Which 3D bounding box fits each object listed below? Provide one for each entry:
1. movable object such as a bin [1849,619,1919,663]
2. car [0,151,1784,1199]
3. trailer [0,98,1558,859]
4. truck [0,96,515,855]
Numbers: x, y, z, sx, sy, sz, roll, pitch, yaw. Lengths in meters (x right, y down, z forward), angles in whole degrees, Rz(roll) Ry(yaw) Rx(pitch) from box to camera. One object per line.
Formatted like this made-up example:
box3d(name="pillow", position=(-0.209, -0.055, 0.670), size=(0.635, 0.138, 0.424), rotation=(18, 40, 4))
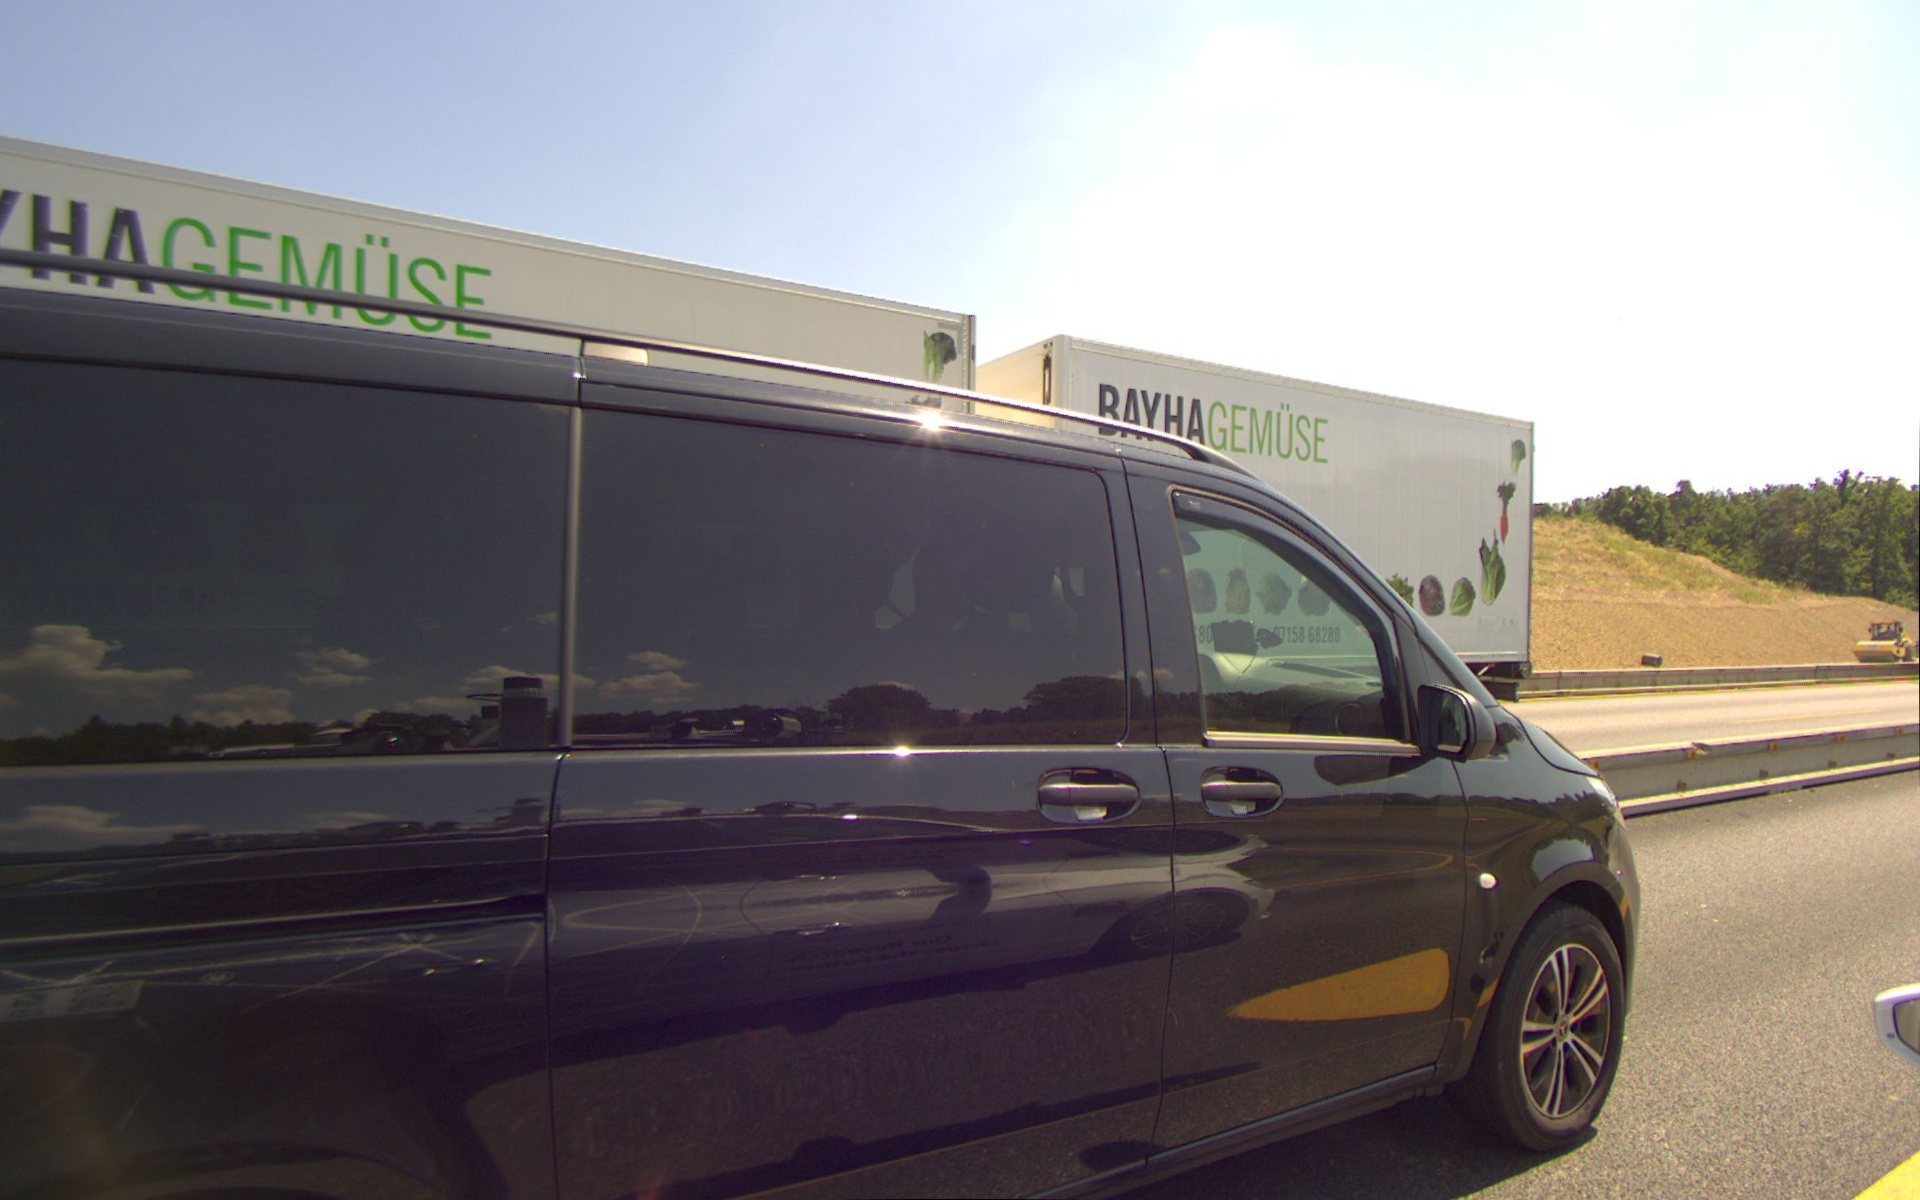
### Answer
box3d(name="movable object such as a bin", position=(69.233, 3.011, 74.963), size=(7.079, 3.150, 2.159), rotation=(1, -2, -30))
box3d(name="car", position=(-0.203, 0.496, 2.612), size=(5.415, 1.876, 1.865), rotation=(2, 0, -31))
box3d(name="trailer", position=(0.696, -0.472, 10.536), size=(15.351, 4.234, 2.491), rotation=(2, -2, -30))
box3d(name="truck", position=(-6.238, -0.686, 6.559), size=(5.841, 4.254, 2.480), rotation=(2, -2, -30))
